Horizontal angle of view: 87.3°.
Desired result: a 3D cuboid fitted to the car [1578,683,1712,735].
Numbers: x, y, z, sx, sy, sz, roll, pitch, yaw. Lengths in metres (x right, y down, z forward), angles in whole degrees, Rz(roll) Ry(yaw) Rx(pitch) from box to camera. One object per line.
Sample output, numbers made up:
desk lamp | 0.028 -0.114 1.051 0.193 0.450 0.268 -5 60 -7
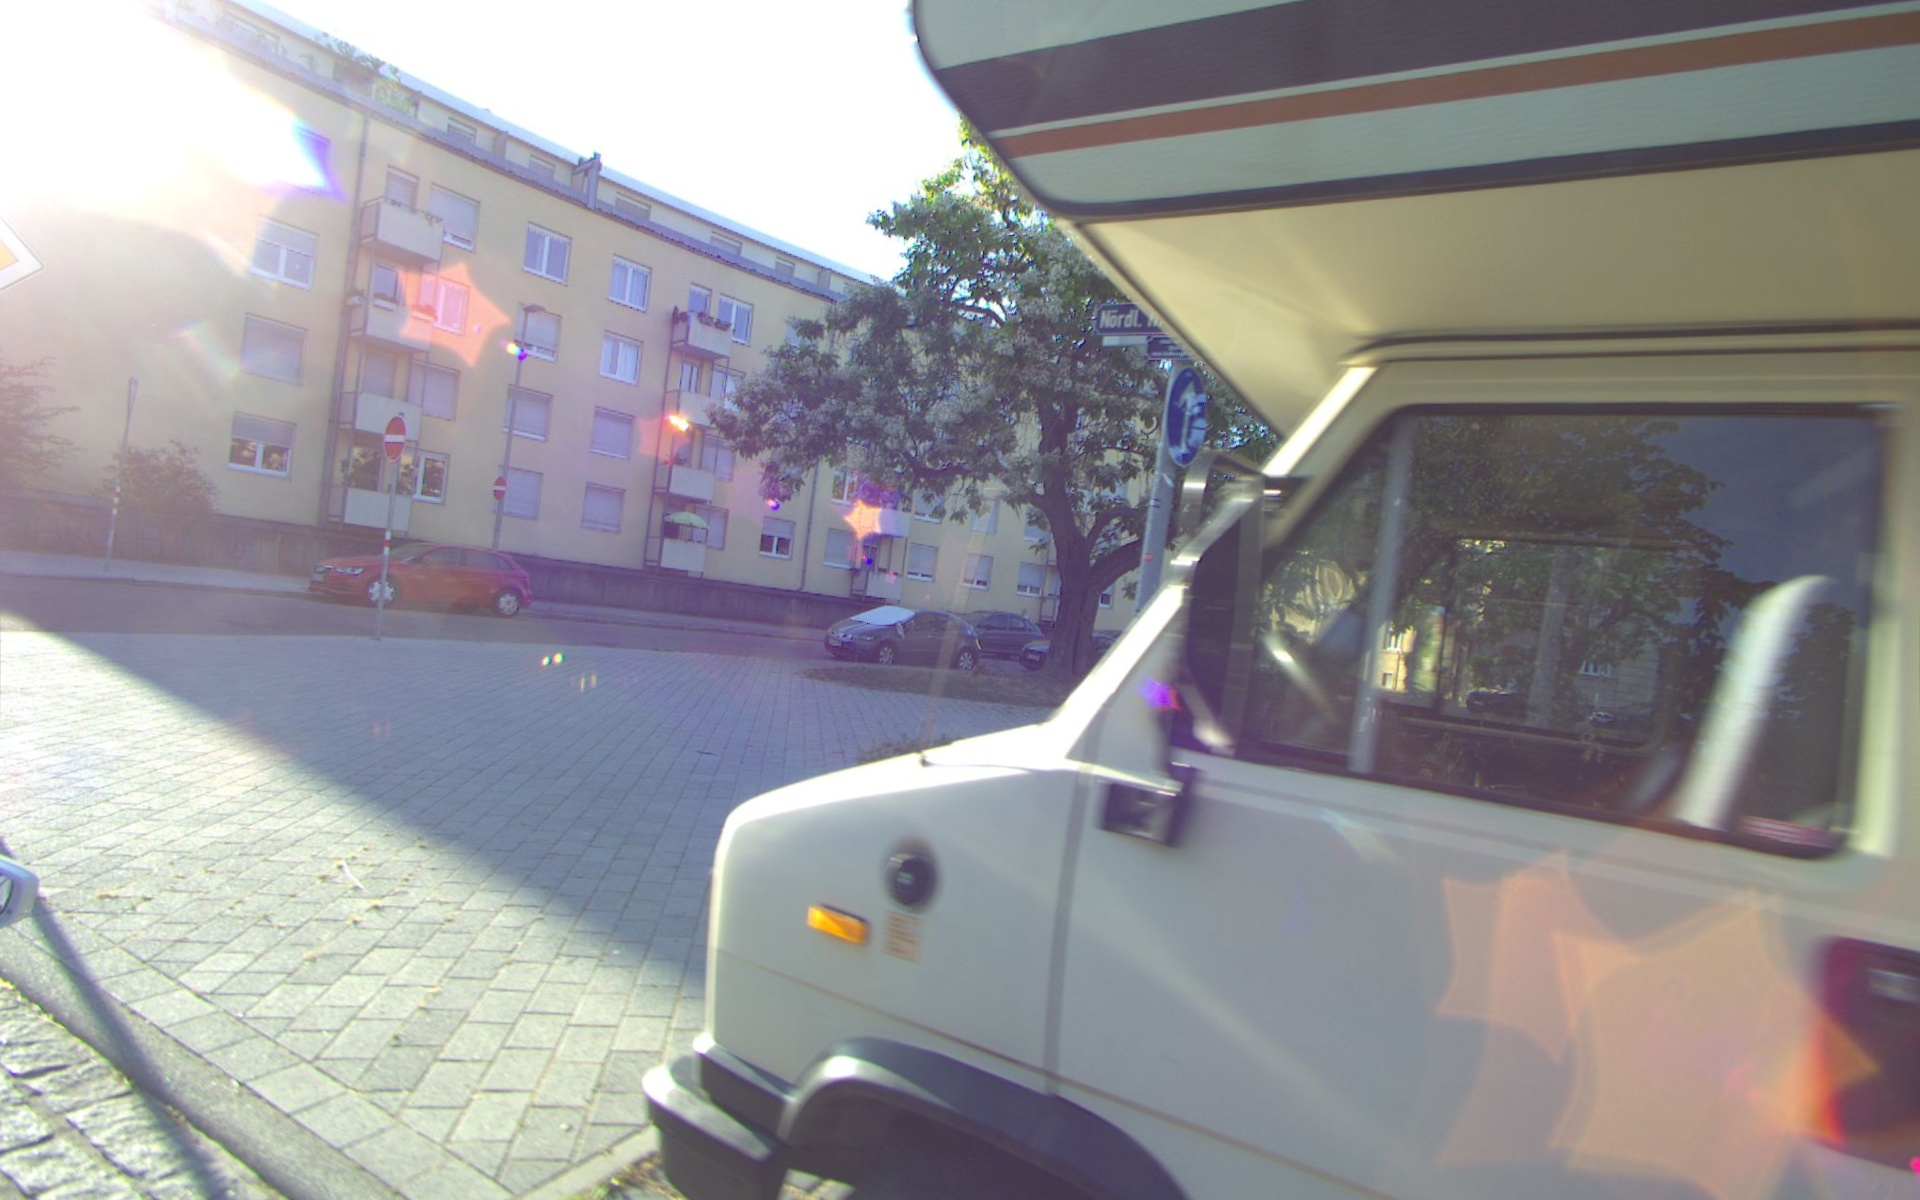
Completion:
car | 27.981 4.455 41.169 4.293 1.471 1.877 7 1 -8

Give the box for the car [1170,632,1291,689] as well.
car | 11.042 2.460 41.042 4.469 1.768 1.868 7 1 -26

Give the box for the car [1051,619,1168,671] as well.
car | 5.605 1.684 37.524 3.959 1.471 1.864 7 0 -32

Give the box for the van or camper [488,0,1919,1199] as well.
van or camper | 2.246 0.244 1.321 5.576 2.940 2.237 6 0 29

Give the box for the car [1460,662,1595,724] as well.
car | 22.046 3.608 39.122 4.458 1.768 1.873 7 1 -17

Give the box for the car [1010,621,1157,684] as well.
car | 3.582 1.520 28.813 4.176 1.374 1.674 7 0 -40

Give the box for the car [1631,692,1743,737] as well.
car | 34.813 5.473 48.241 3.927 1.471 1.879 7 1 -1

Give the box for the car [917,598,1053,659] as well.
car | 0.921 0.988 34.490 4.494 1.589 1.858 7 0 -42

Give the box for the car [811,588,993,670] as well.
car | -1.300 0.725 23.911 1.671 1.481 4.183 7 0 45

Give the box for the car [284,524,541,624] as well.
car | -11.297 -0.486 21.038 1.968 1.549 4.197 7 0 34

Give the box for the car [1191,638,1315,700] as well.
car | 9.664 2.287 33.141 3.960 1.571 1.596 7 1 -33
